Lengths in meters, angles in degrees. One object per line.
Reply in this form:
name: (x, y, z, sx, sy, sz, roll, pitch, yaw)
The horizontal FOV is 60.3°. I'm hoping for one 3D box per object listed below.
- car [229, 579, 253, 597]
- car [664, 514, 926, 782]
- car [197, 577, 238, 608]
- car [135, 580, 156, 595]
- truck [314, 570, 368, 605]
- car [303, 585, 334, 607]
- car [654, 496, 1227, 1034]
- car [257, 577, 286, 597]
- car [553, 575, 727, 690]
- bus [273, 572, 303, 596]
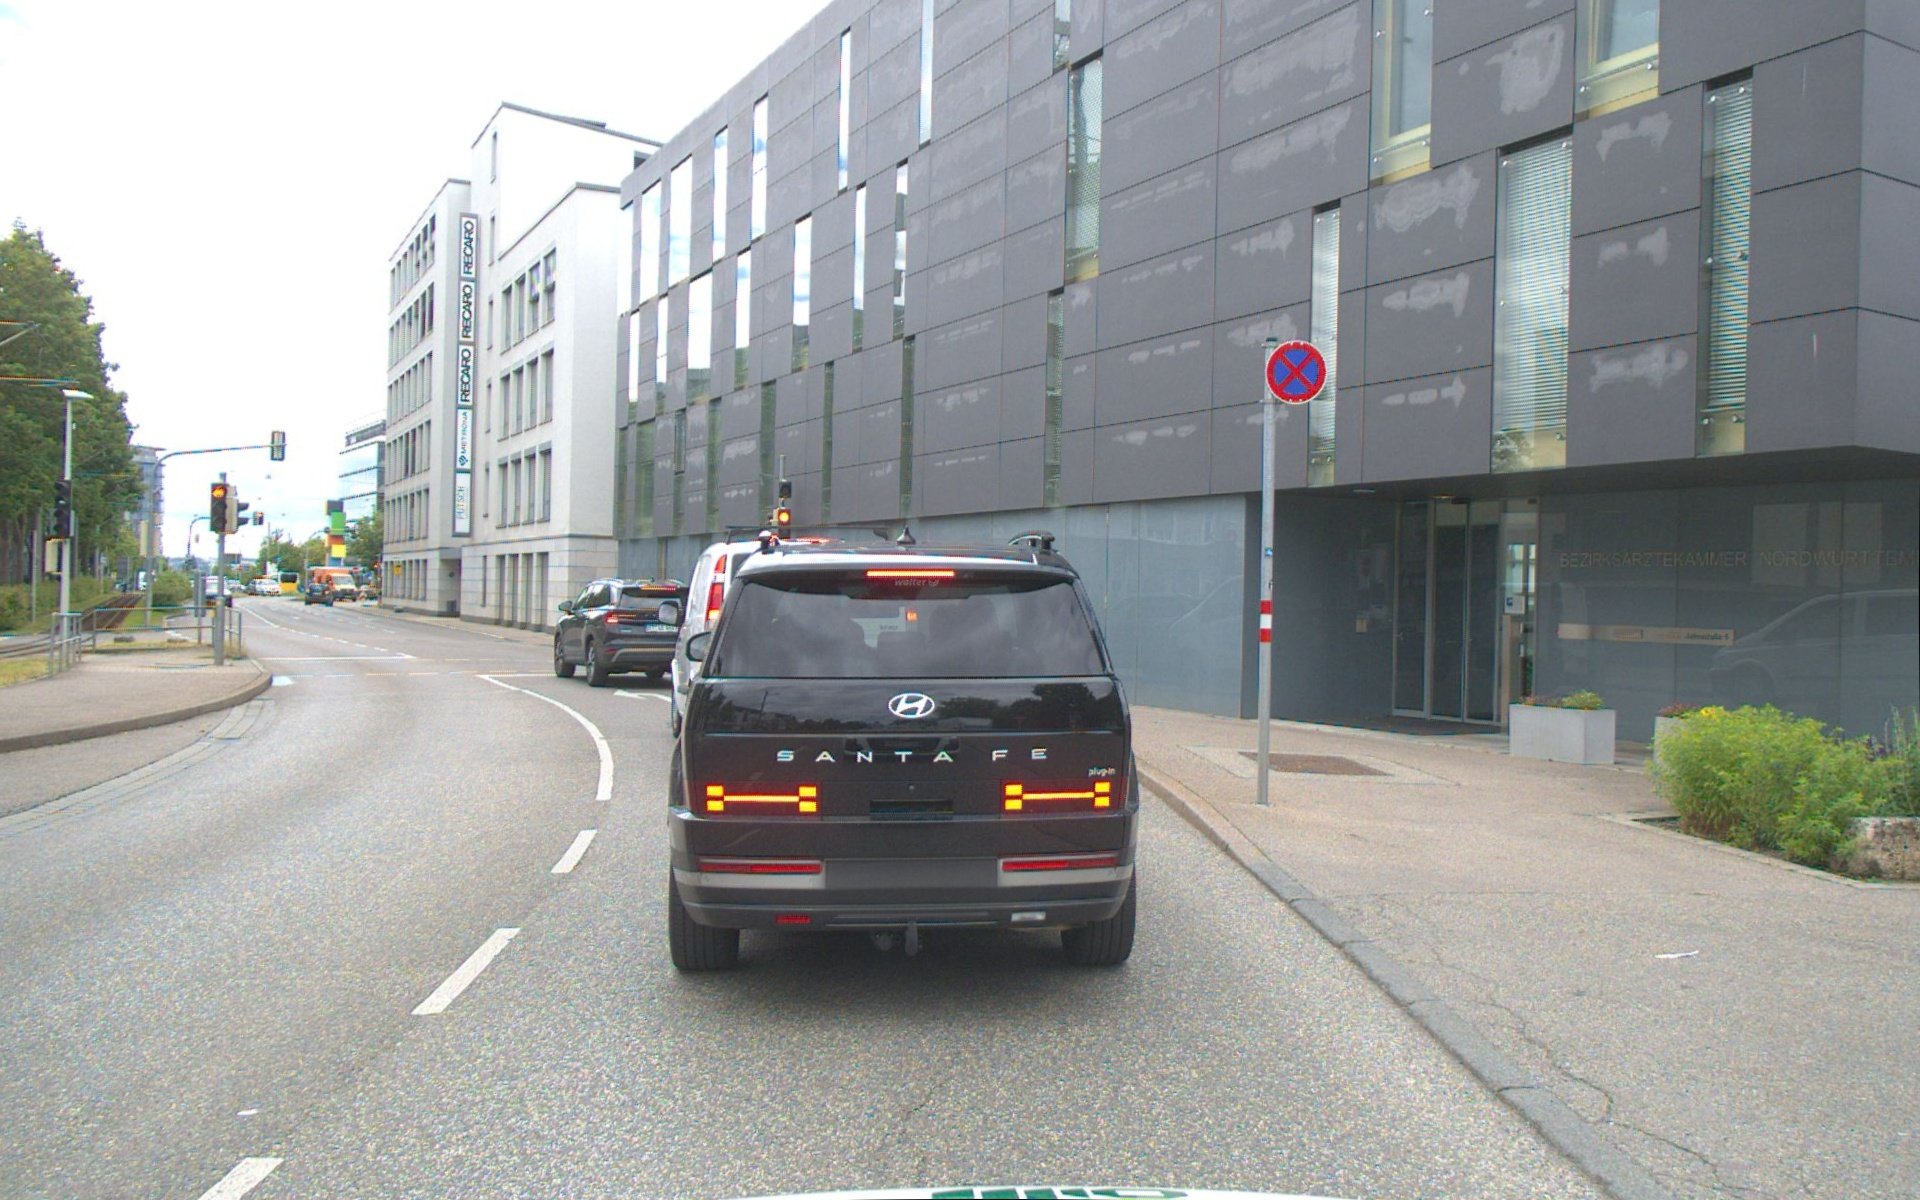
car: (-80.794, -1.359, 185.799, 1.897, 1.755, 4.125, 3, 0, -32)
car: (-1.664, 0.371, 15.113, 1.823, 2.069, 4.422, 1, 0, -13)
car: (-41.843, -0.428, 93.161, 1.831, 1.725, 3.963, 1, 0, -28)
car: (-104.321, -1.549, 211.851, 1.897, 1.755, 4.125, 3, 0, -32)
truck: (-53.652, -1.088, 143.256, 2.554, 2.874, 6.898, 1, 0, -37)
car: (-46.067, -0.311, 118.881, 1.870, 1.512, 3.979, 1, 0, -19)
car: (-0.190, 0.561, 7.709, 1.877, 1.755, 4.167, 3, 0, -4)
car: (-66.646, -1.291, 160.073, 1.897, 1.755, 4.125, 3, 0, -32)
car: (-5.286, 0.485, 26.889, 1.824, 1.706, 4.340, 0, 0, -25)
bus: (-90.130, -2.178, 221.759, 3.045, 2.979, 10.257, 3, 0, -26)
